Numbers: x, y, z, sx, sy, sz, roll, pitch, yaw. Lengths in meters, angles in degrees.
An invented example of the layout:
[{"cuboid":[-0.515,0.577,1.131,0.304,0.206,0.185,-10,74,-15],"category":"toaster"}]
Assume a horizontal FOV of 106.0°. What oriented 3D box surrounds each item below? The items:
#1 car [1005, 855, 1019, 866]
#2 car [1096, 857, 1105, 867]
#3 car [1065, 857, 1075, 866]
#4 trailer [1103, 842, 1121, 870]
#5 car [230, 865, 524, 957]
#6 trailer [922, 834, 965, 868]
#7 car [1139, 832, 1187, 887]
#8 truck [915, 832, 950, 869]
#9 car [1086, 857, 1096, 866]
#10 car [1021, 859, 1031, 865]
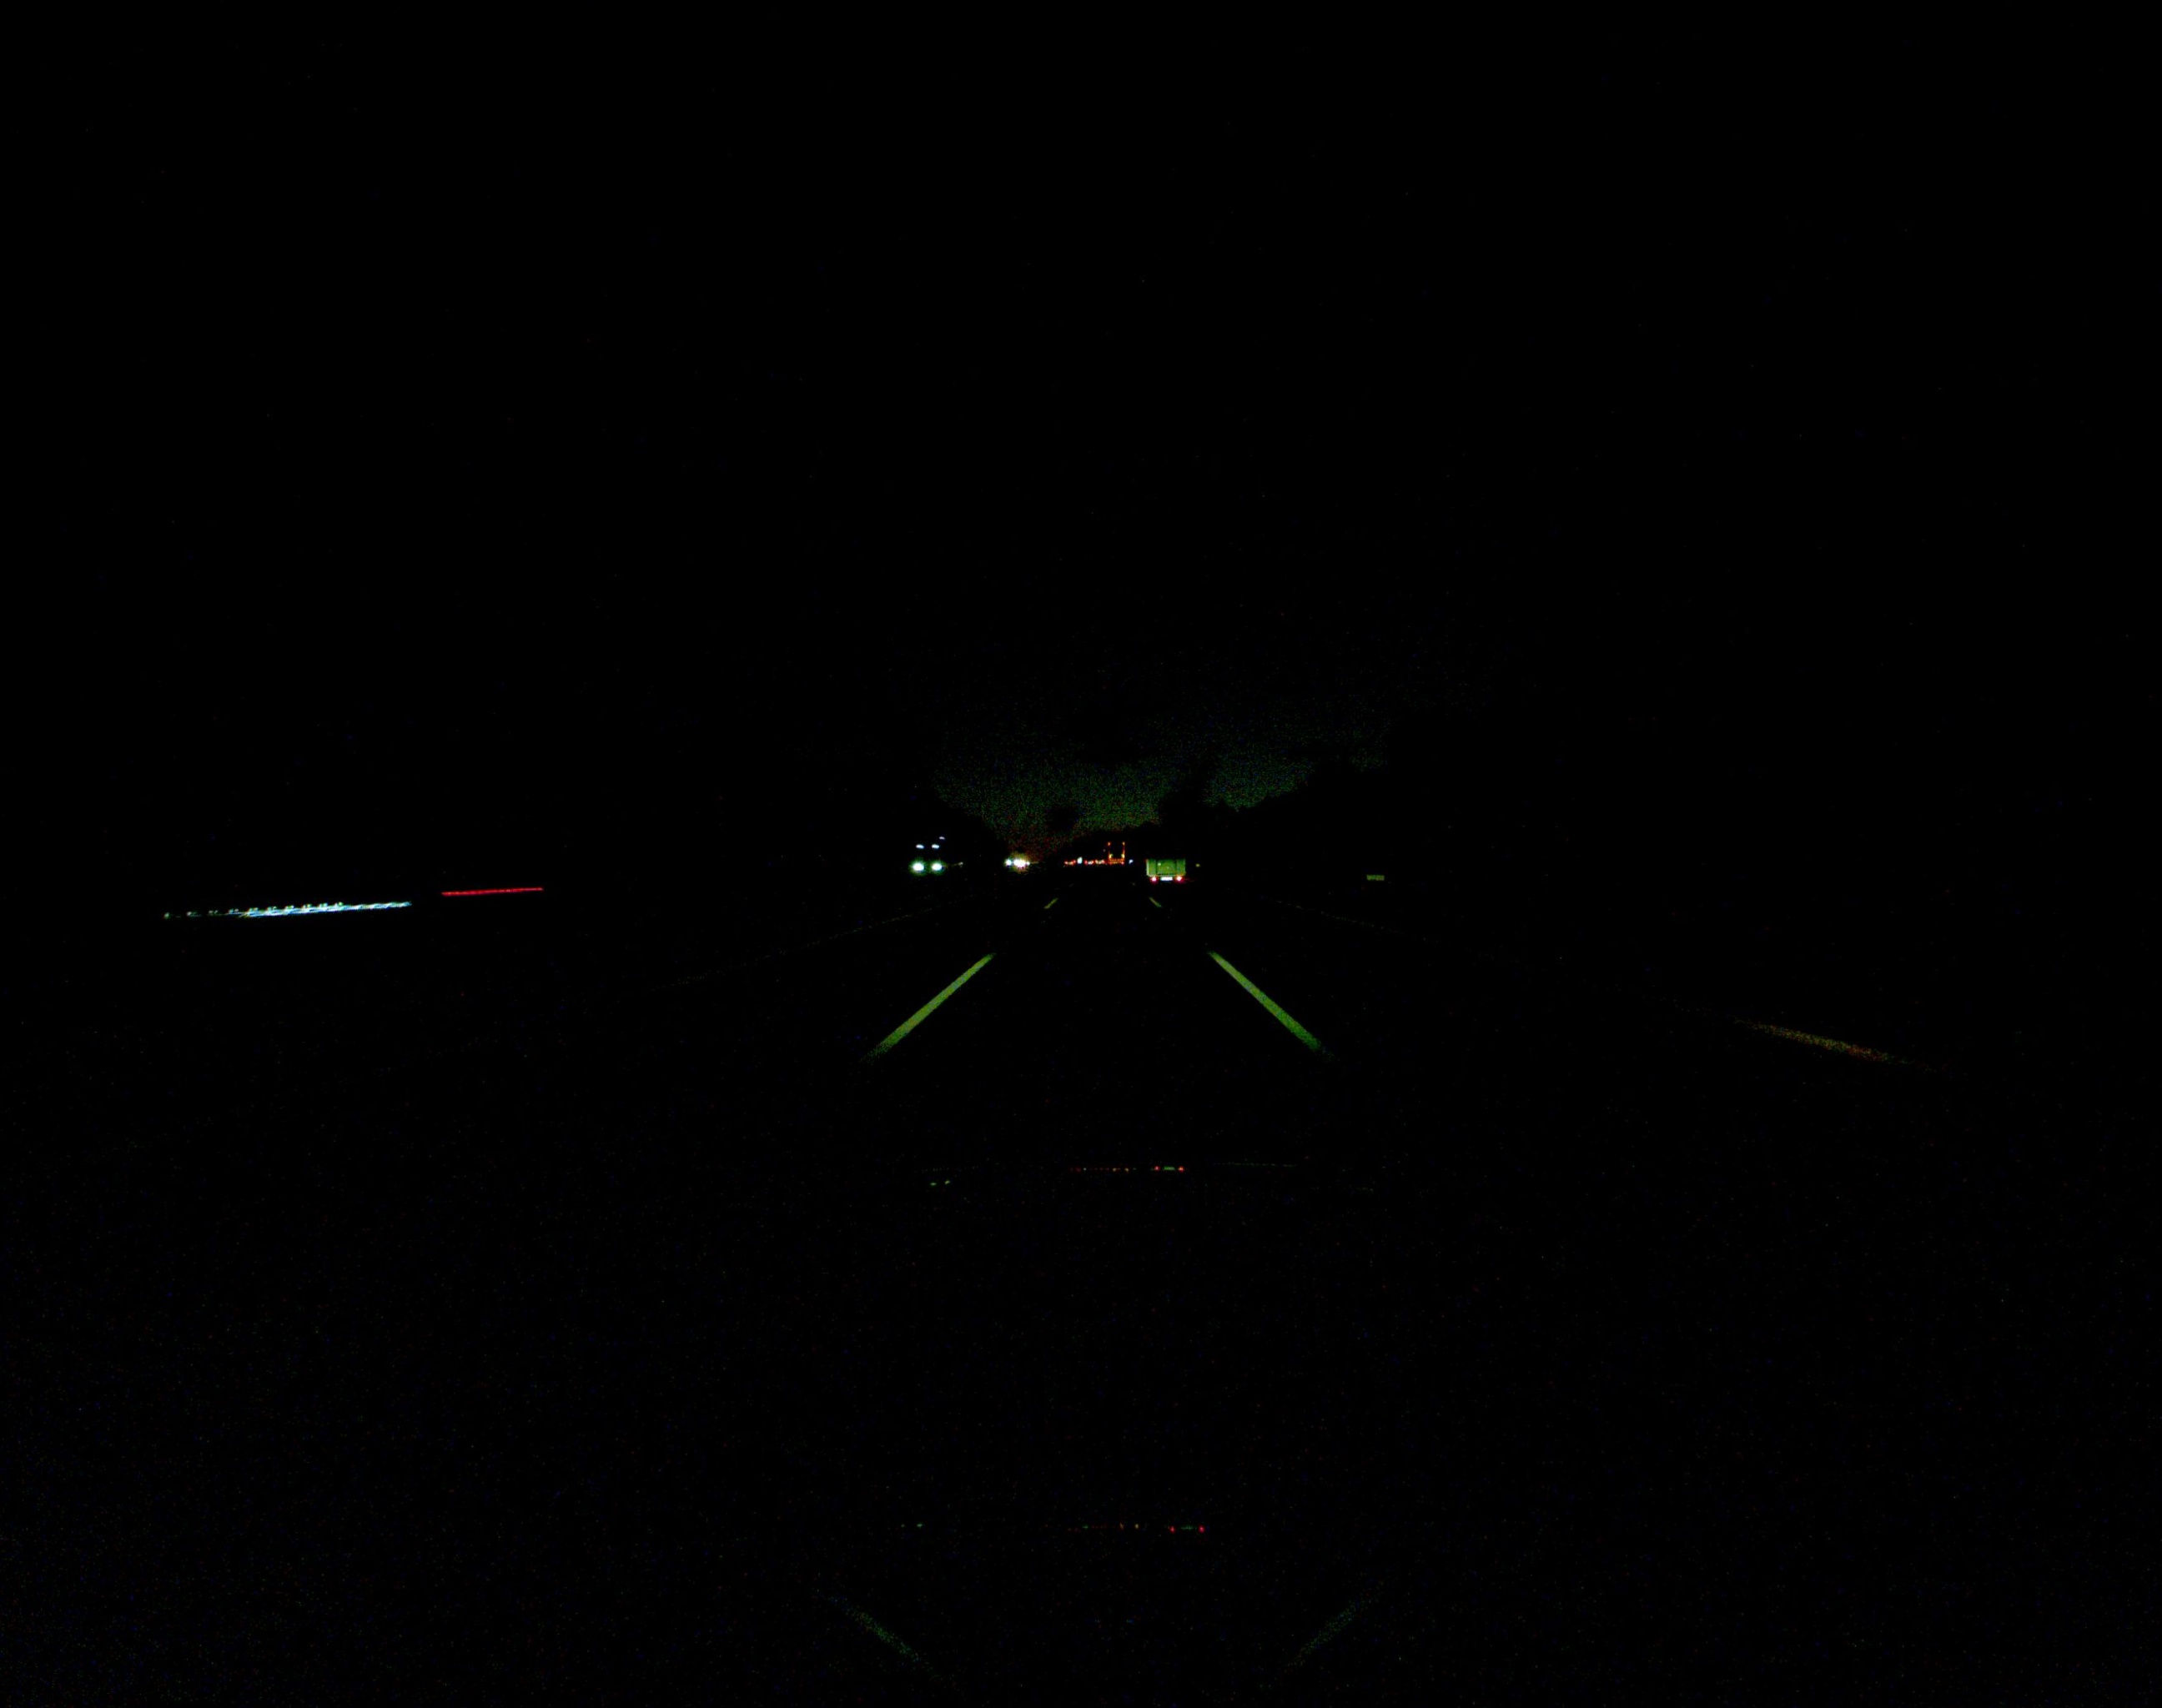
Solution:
[{"cuboid":[-13.534,1.242,160.398,2.237,2.101,5.714,-1,0,0],"category":"car"},{"cuboid":[4.625,1.923,196.157,1.988,2.117,3.998,-1,-2,-1],"category":"car"},{"cuboid":[-2.271,1.554,165.384,1.989,1.794,3.995,-1,-2,-3],"category":"car"},{"cuboid":[5.391,0.512,141.993,2.819,4.257,17.052,-1,-2,2],"category":"trailer"},{"cuboid":[-15.124,1.115,17.991,2.002,1.669,4.952,-1,0,3],"category":"car"},{"cuboid":[-16.897,-0.321,101.235,2.844,3.980,13.886,-1,0,1],"category":"trailer"},{"cuboid":[4.231,0.279,42.778,2.025,2.647,5.725,-1,-1,1],"category":"car"},{"cuboid":[-17.026,-0.381,93.593,2.844,3.980,5.860,-1,0,1],"category":"truck"},{"cuboid":[2.031,1.611,167.650,1.987,1.794,3.999,-1,-2,0],"category":"car"},{"cuboid":[-14.551,2.137,215.656,2.238,1.668,4.887,-1,0,-1],"category":"car"}]
